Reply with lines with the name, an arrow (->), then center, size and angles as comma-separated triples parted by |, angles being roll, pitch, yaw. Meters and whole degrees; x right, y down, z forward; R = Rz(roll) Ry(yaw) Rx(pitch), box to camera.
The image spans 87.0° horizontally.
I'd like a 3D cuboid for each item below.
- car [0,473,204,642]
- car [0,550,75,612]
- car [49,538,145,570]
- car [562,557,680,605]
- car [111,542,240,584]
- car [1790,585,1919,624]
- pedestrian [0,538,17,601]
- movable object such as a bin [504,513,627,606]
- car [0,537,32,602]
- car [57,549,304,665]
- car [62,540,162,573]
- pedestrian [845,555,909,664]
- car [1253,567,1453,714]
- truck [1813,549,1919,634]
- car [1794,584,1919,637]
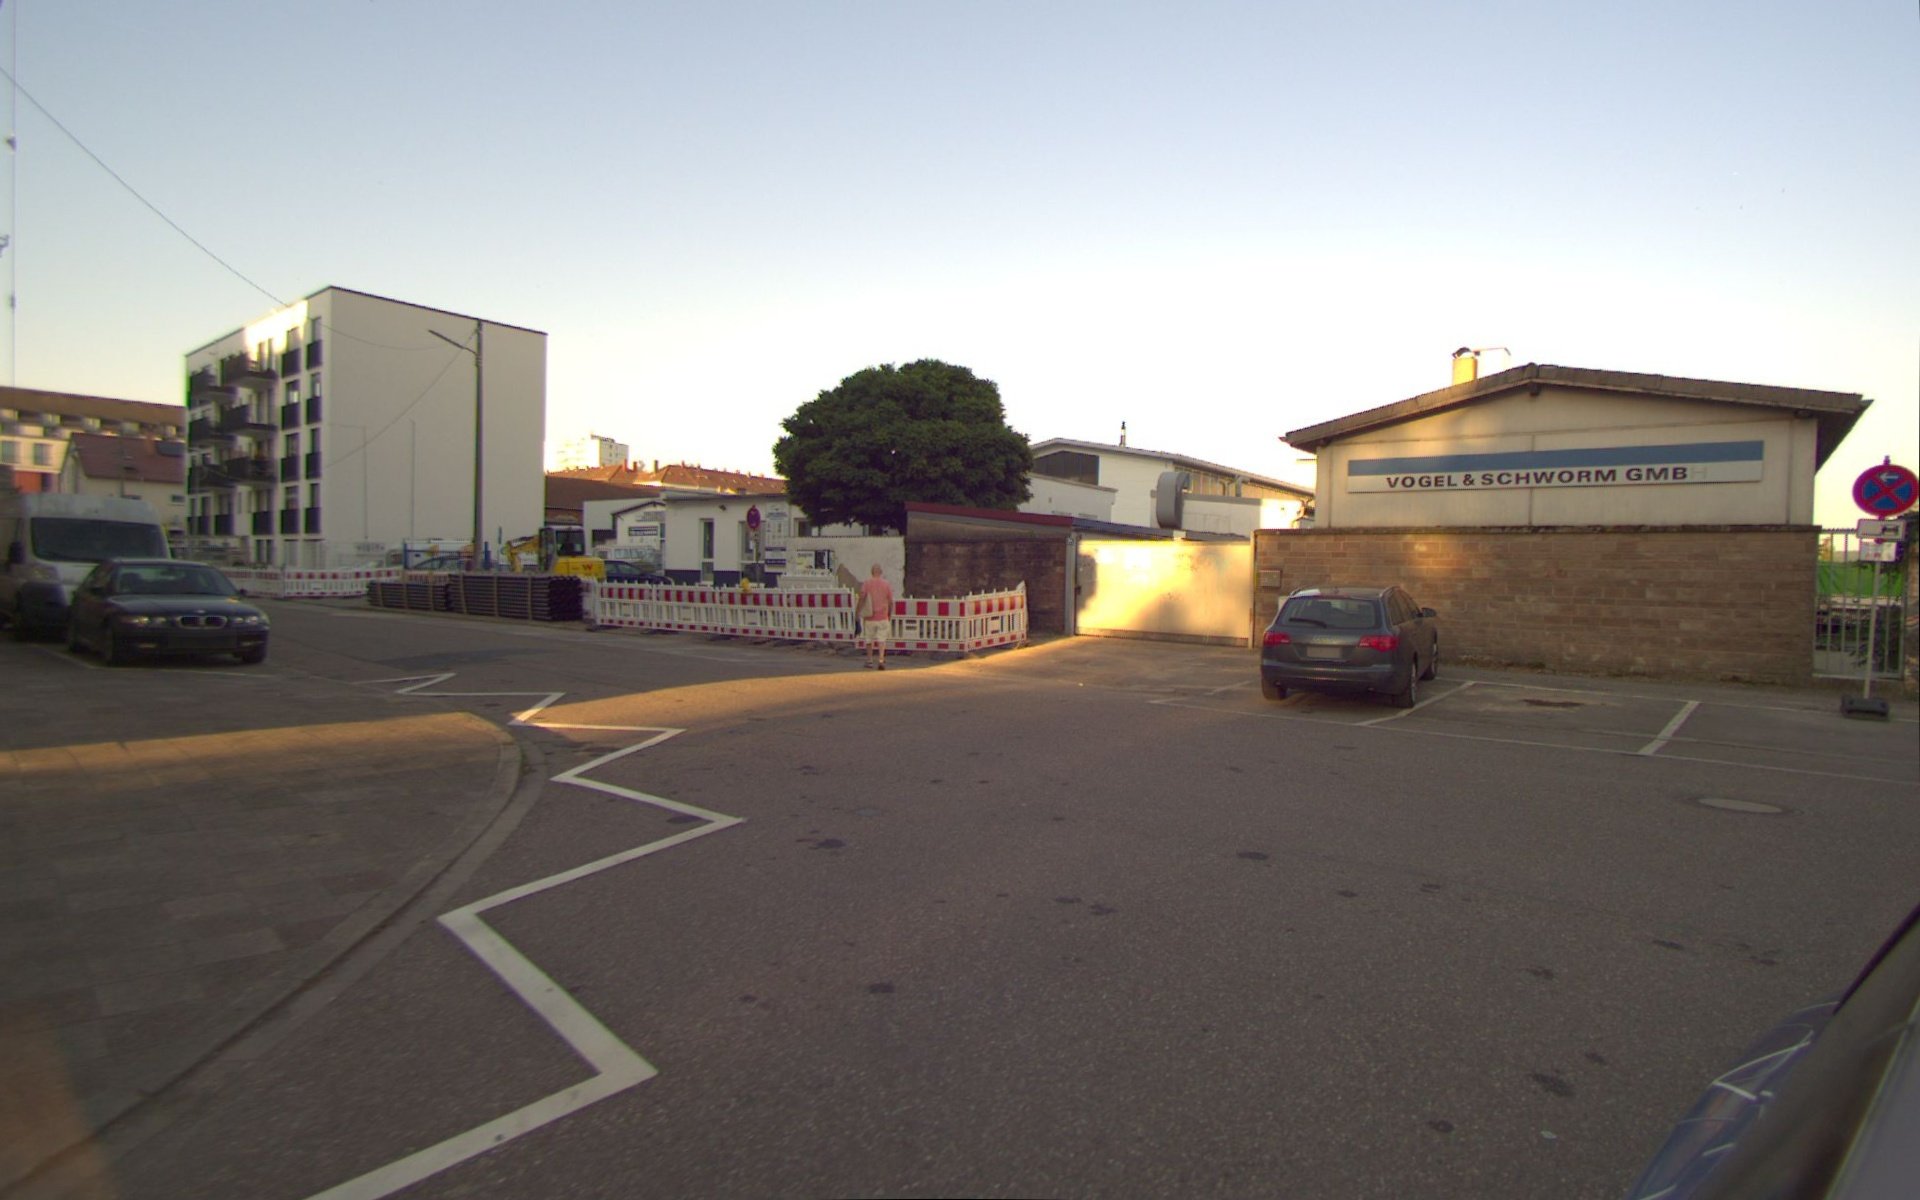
car -> -15.770, -0.720, 18.177 | 6.012, 2.562, 2.199 | 3, 0, 41
car -> -24.670, -0.543, 26.070 | 4.589, 1.462, 2.171 | 3, 0, 41
car -> -59.631, -3.153, 69.960 | 4.987, 2.096, 1.996 | -1, 2, -44
car -> -12.905, -0.718, 38.565 | 3.924, 1.725, 1.849 | 0, 2, -35
car -> -41.017, -1.924, 53.031 | 1.984, 2.096, 5.018 | 2, 2, 30
car -> 37.190, 0.155, 42.162 | 3.981, 1.463, 1.800 | 1, 2, 42
pedestrian -> -26.057, -0.831, 27.328 | 0.626, 1.686, 0.776 | 2, 1, 36
movable object such as a bin -> -12.635, -1.253, 32.179 | 2.622, 2.693, 5.204 | 1, 2, -33
car -> -29.822, -0.987, 30.508 | 4.589, 1.888, 2.170 | 3, 0, 41
car -> -11.032, 0.047, 14.235 | 3.984, 1.389, 1.970 | 3, 0, 41
car -> -56.011, -2.853, 66.905 | 4.987, 2.096, 1.996 | -1, 2, -44
pedestrian -> -1.327, 0.148, 16.077 | 0.770, 1.686, 0.630 | 2, 0, -26
car -> 5.514, 0.370, 13.799 | 1.817, 1.549, 4.680 | 2, 3, 30
truck -> 26.398, -0.216, 29.625 | 2.096, 2.228, 5.627 | 3, 1, 40
car -> 29.339, 0.309, 32.592 | 3.758, 1.554, 1.863 | 2, 3, 43
